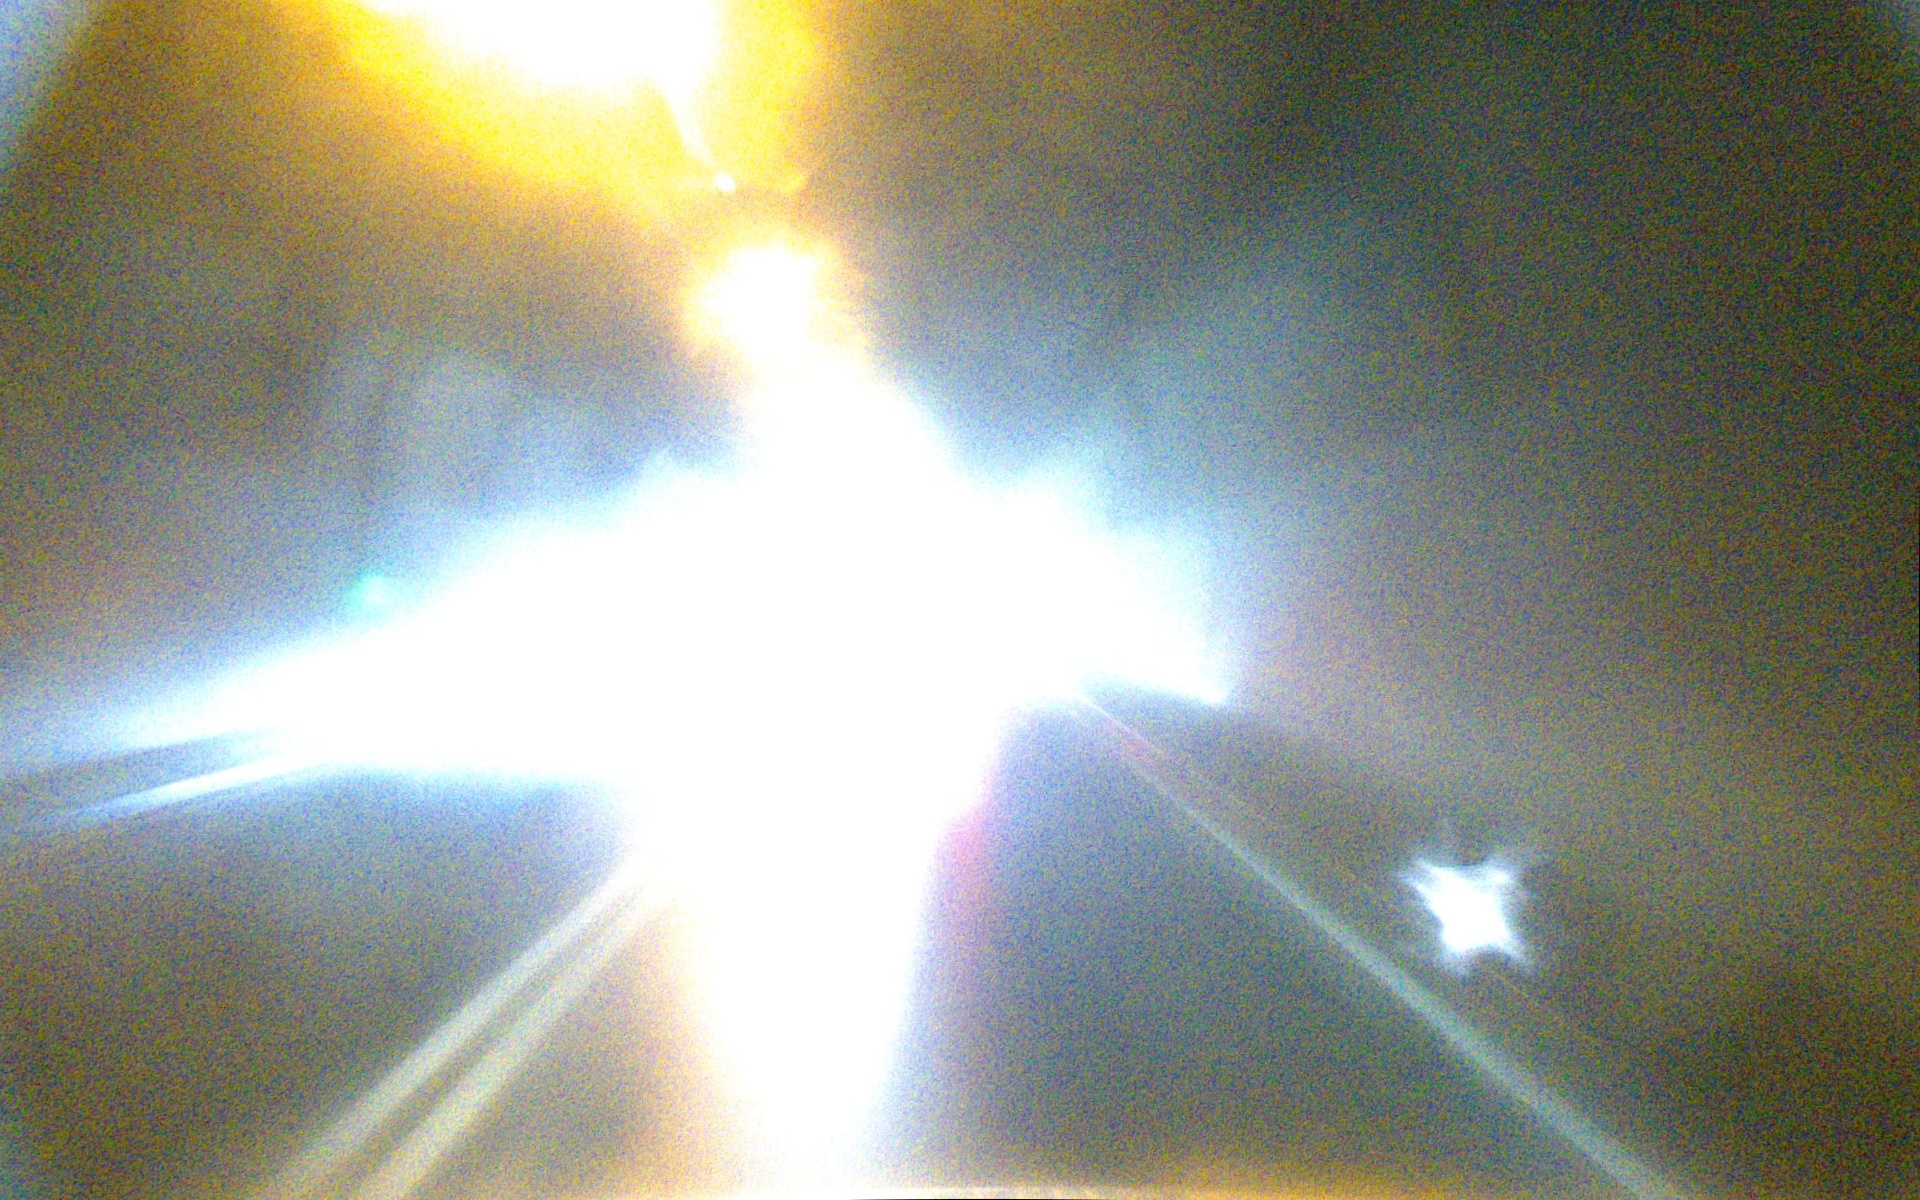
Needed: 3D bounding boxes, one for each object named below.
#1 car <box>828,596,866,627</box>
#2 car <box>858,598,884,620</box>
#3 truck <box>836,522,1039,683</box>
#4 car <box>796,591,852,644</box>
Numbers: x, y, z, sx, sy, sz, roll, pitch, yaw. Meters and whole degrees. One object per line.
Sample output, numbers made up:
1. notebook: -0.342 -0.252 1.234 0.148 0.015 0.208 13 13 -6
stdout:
1. car: -5.804 0.577 85.197 1.700 1.466 3.835 1 0 -1
2. car: -6.159 0.629 115.026 1.724 1.506 3.885 1 0 -2
3. truck: -0.462 0.042 32.881 3.463 2.740 8.954 0 0 -1
4. car: -4.334 0.540 53.141 1.537 1.660 3.729 0 0 -1
